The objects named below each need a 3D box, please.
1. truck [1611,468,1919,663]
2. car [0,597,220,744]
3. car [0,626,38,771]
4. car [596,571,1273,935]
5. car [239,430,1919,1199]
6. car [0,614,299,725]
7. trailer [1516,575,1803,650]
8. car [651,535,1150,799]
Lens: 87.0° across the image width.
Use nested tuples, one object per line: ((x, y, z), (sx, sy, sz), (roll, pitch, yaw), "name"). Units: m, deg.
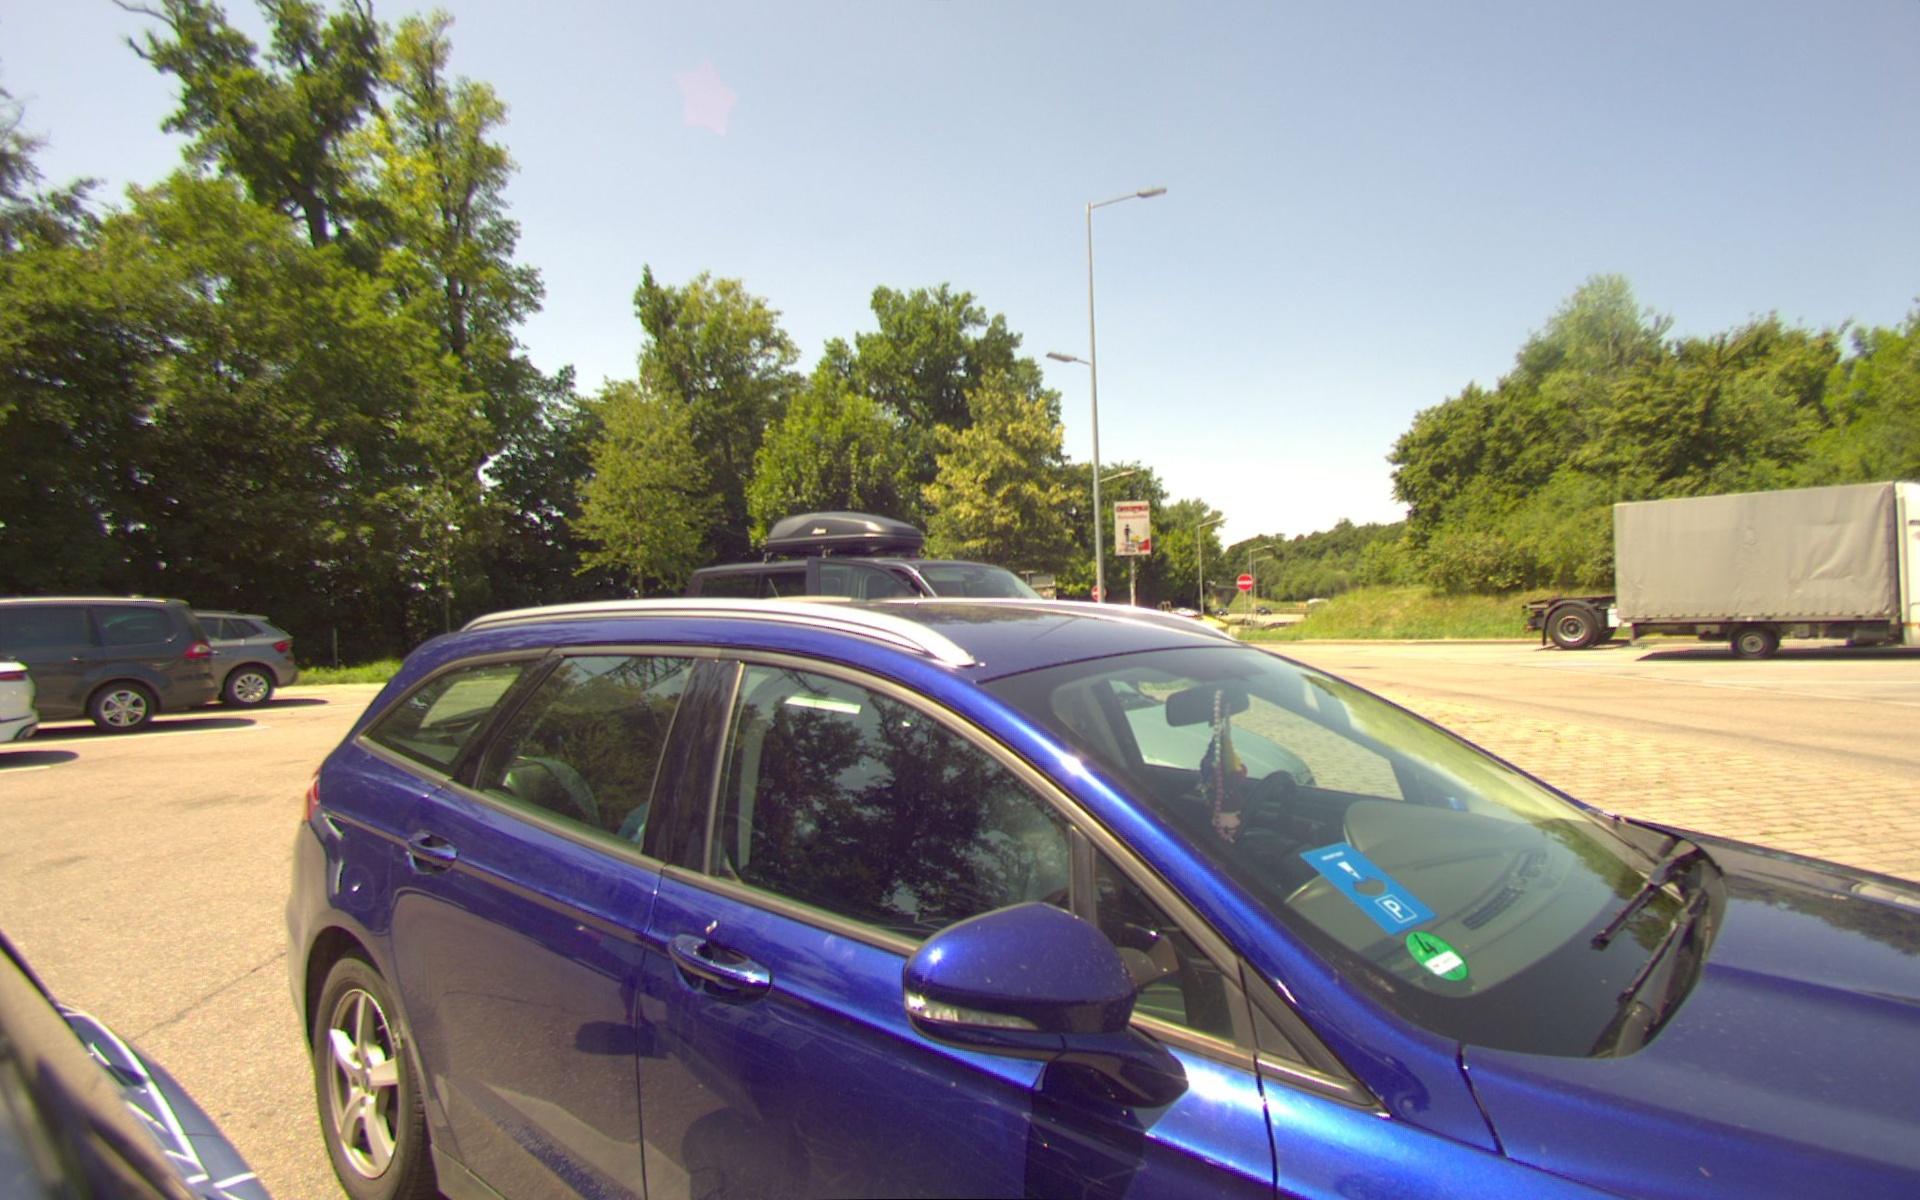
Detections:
((16.727, -0.618, 18.828), (7.308, 3.258, 2.294), (-5, -2, 43), "truck")
((-11.695, 0.844, 12.563), (3.830, 1.703, 1.883), (0, -2, -45), "car")
((-10.940, 0.951, 9.175), (3.753, 1.377, 1.804), (0, -1, -45), "car")
((-0.345, 0.655, 5.785), (3.739, 1.424, 1.587), (-2, -1, 40), "car")
((0.260, 0.656, 2.064), (4.426, 1.455, 1.763), (-2, -1, 40), "car")
((-12.592, 0.981, 15.602), (3.753, 1.488, 1.743), (0, -1, -45), "car")
((16.346, 0.347, 23.901), (5.393, 1.608, 1.576), (-2, -1, 41), "trailer")
((-0.713, 0.539, 9.396), (4.426, 1.875, 2.022), (-2, -1, 40), "car")
